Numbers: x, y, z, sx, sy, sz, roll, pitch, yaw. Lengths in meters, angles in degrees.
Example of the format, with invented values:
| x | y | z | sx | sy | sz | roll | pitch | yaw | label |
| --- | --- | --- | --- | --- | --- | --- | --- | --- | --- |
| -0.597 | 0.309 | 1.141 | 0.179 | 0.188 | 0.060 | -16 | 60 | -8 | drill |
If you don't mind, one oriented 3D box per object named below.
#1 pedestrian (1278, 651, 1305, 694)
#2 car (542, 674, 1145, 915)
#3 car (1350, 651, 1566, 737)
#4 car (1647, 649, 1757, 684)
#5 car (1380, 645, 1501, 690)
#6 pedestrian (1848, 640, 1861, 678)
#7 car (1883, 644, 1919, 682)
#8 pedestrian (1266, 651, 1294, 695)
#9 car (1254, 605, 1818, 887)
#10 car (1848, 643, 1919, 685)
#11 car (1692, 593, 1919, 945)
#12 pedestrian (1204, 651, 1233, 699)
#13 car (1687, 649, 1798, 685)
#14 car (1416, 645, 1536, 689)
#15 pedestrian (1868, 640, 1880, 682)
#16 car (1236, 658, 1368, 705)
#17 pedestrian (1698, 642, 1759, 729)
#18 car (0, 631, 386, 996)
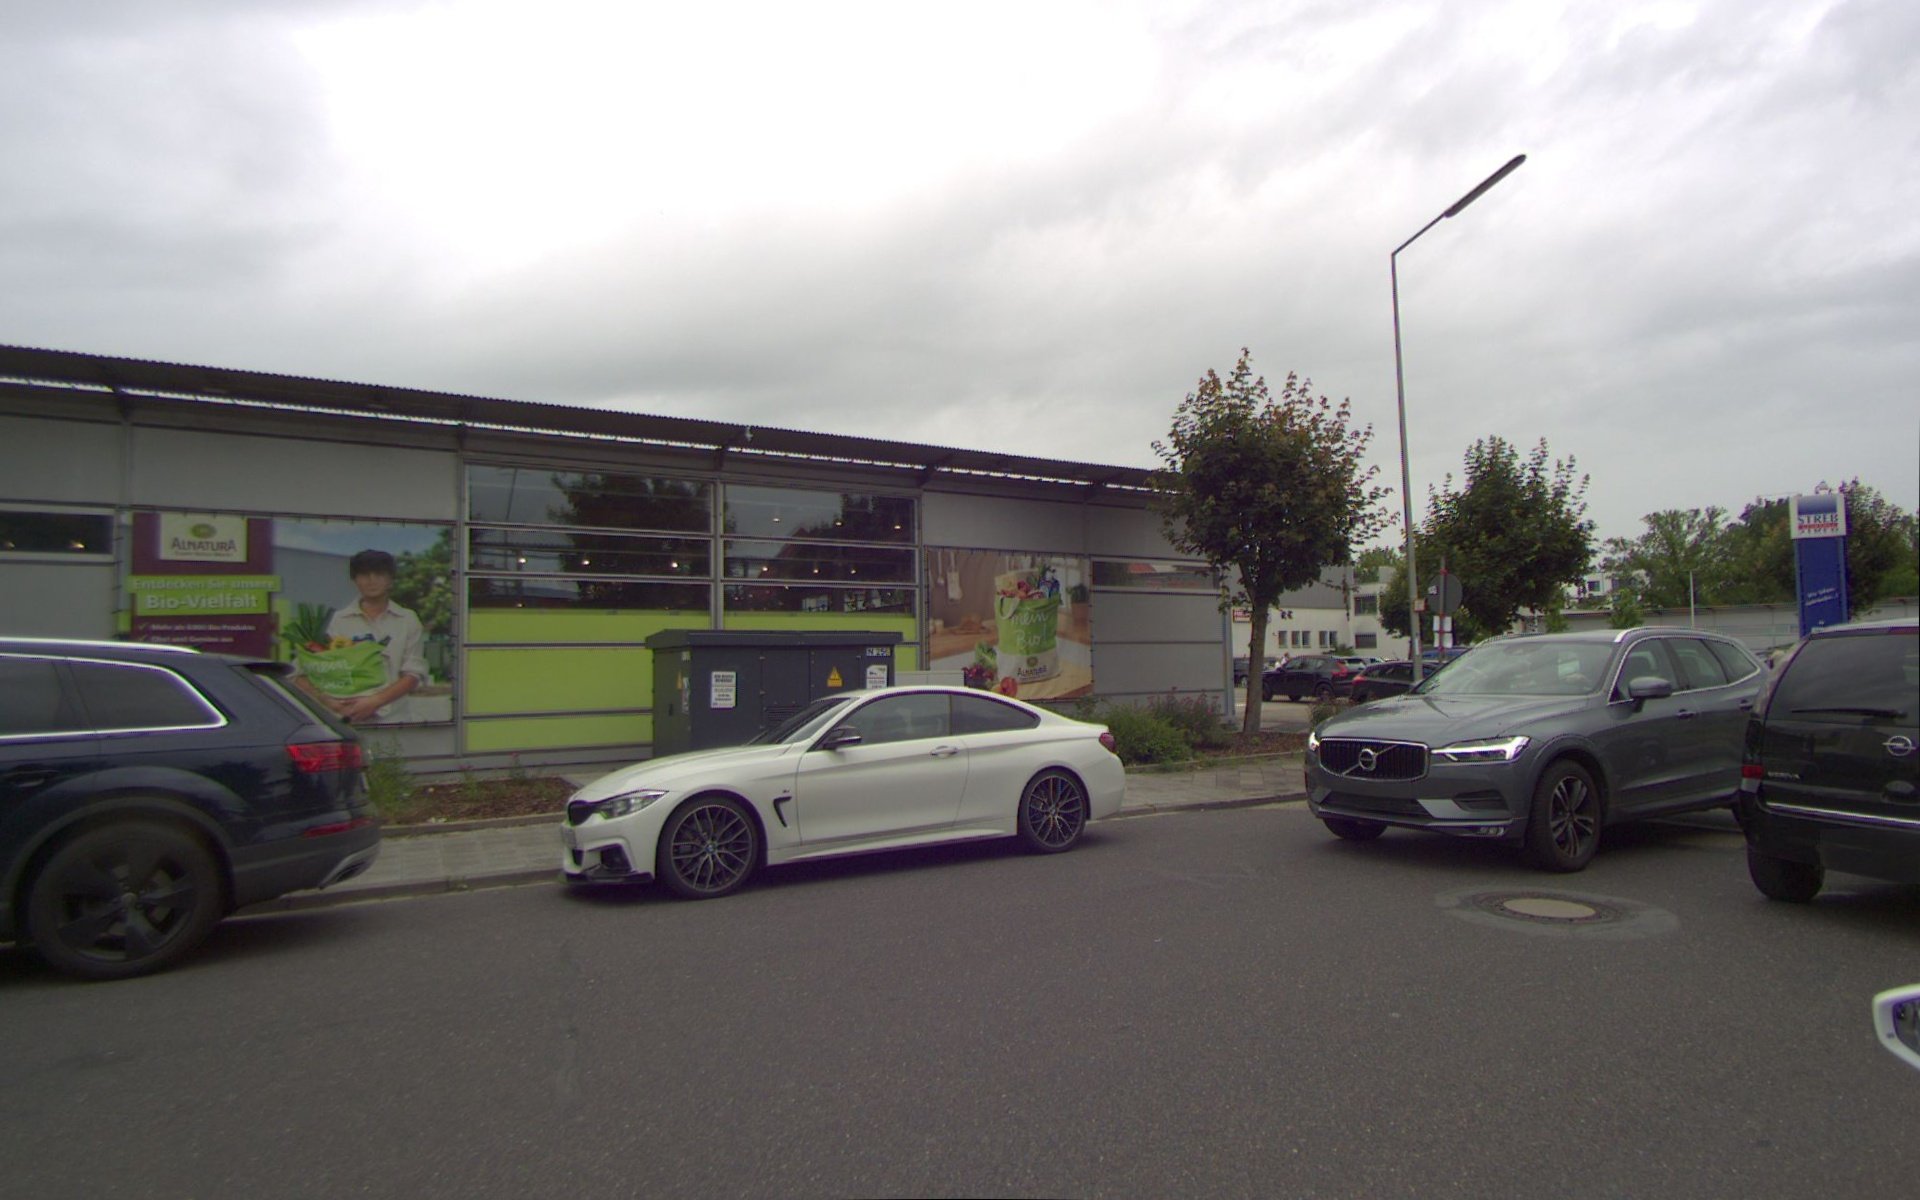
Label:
| x | y | z | sx | sy | sz | roll | pitch | yaw | label |
| --- | --- | --- | --- | --- | --- | --- | --- | --- | --- |
| 13.703 | 2.983 | 41.529 | 0.690 | 1.738 | 0.795 | 1 | -2 | -34 | pedestrian |
| -0.830 | 1.387 | 8.013 | 4.465 | 1.384 | 1.692 | 1 | -9 | -31 | car |
| 10.782 | 1.964 | 22.032 | 1.904 | 1.641 | 3.857 | 1 | -3 | -29 | car |
| 37.092 | 3.340 | 50.293 | 1.854 | 1.690 | 3.971 | 1 | -4 | -29 | car |
| 18.916 | 2.664 | 39.712 | 1.854 | 1.690 | 3.971 | 1 | -4 | -29 | car |
| 38.212 | 2.511 | 42.908 | 0.500 | 1.590 | 0.327 | 2 | -3 | -43 | pedestrian |
| 39.004 | 2.429 | 39.174 | 1.879 | 1.482 | 4.110 | 2 | -4 | -35 | car |
| 12.988 | 2.942 | 40.765 | 0.690 | 1.738 | 0.795 | 1 | -2 | -34 | pedestrian |
| 4.697 | 1.008 | 8.080 | 4.442 | 1.705 | 1.925 | 1 | -5 | -30 | car |
| 35.071 | 2.301 | 36.268 | 1.935 | 1.482 | 4.174 | 2 | -4 | -37 | car |
| 6.123 | 0.836 | 5.702 | 3.711 | 1.653 | 1.675 | 1 | -4 | -28 | car |
| 9.491 | 2.736 | 36.873 | 0.691 | 1.738 | 0.793 | 2 | -2 | -39 | pedestrian |
| 39.461 | 3.385 | 50.766 | 1.854 | 1.690 | 3.971 | 1 | -4 | -29 | car |
| 20.961 | 2.742 | 40.941 | 1.854 | 1.690 | 3.971 | 1 | -4 | -29 | car |
| 38.552 | 2.578 | 42.346 | 0.419 | 1.752 | 0.260 | 2 | -4 | -42 | pedestrian |
| 11.866 | 2.809 | 34.977 | 3.942 | 1.504 | 1.867 | -3 | -4 | 41 | car |
| 15.817 | 1.732 | 20.671 | 0.690 | 1.737 | 0.770 | 1 | -3 | -34 | pedestrian |
| -5.690 | 1.099 | 5.178 | 4.671 | 1.712 | 1.859 | 1 | -7 | -29 | car |
